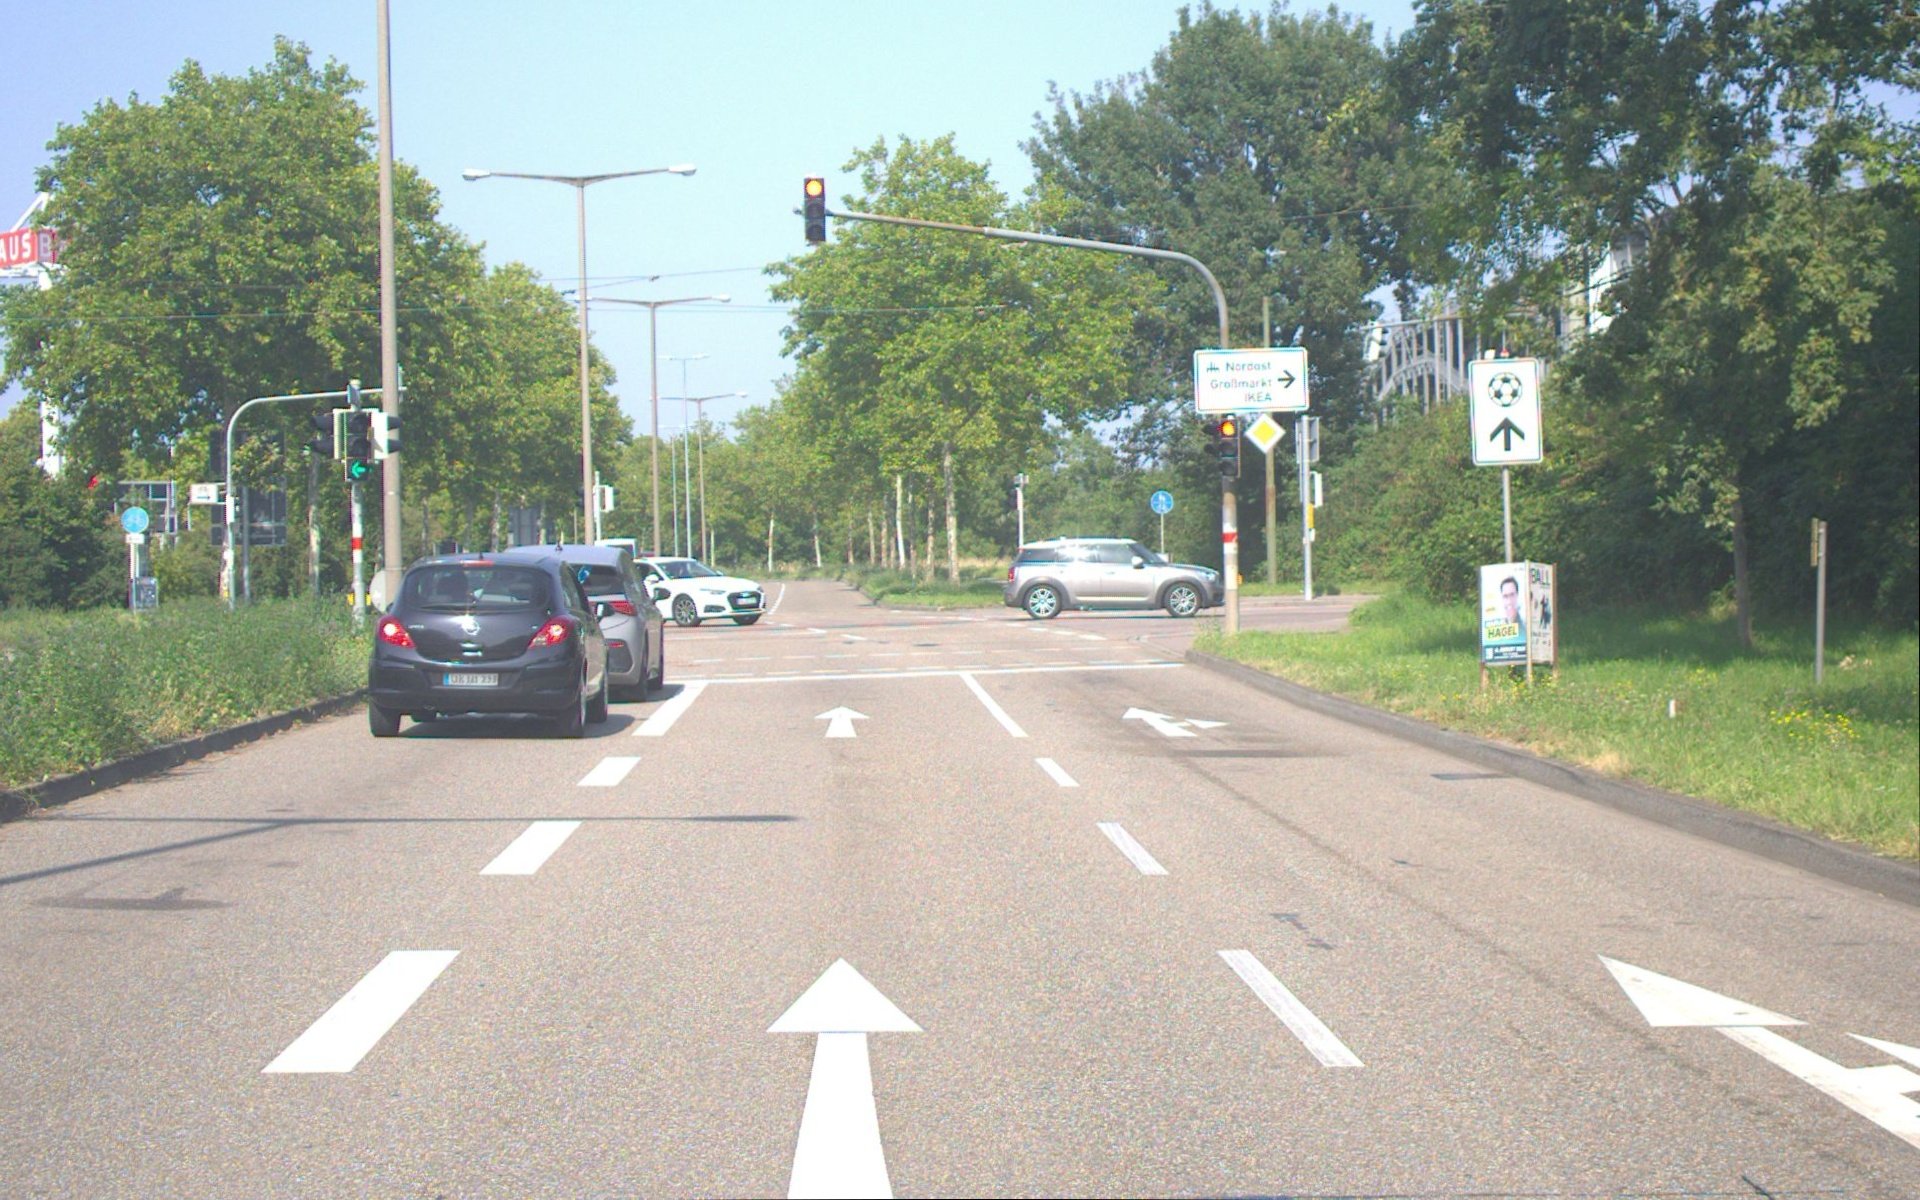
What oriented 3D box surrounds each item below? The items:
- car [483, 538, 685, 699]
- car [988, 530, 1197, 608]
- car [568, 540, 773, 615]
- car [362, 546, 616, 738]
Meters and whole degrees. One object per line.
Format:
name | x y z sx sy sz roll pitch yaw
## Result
car | -3.728 0.140 34.648 1.692 1.480 4.000 -2 1 -2
car | 2.591 -0.604 66.594 3.967 1.481 1.625 0 1 5
car | -5.957 -0.477 70.281 1.693 1.481 4.620 0 1 -43
car | -3.844 0.303 28.579 1.692 1.481 4.000 0 1 -2
